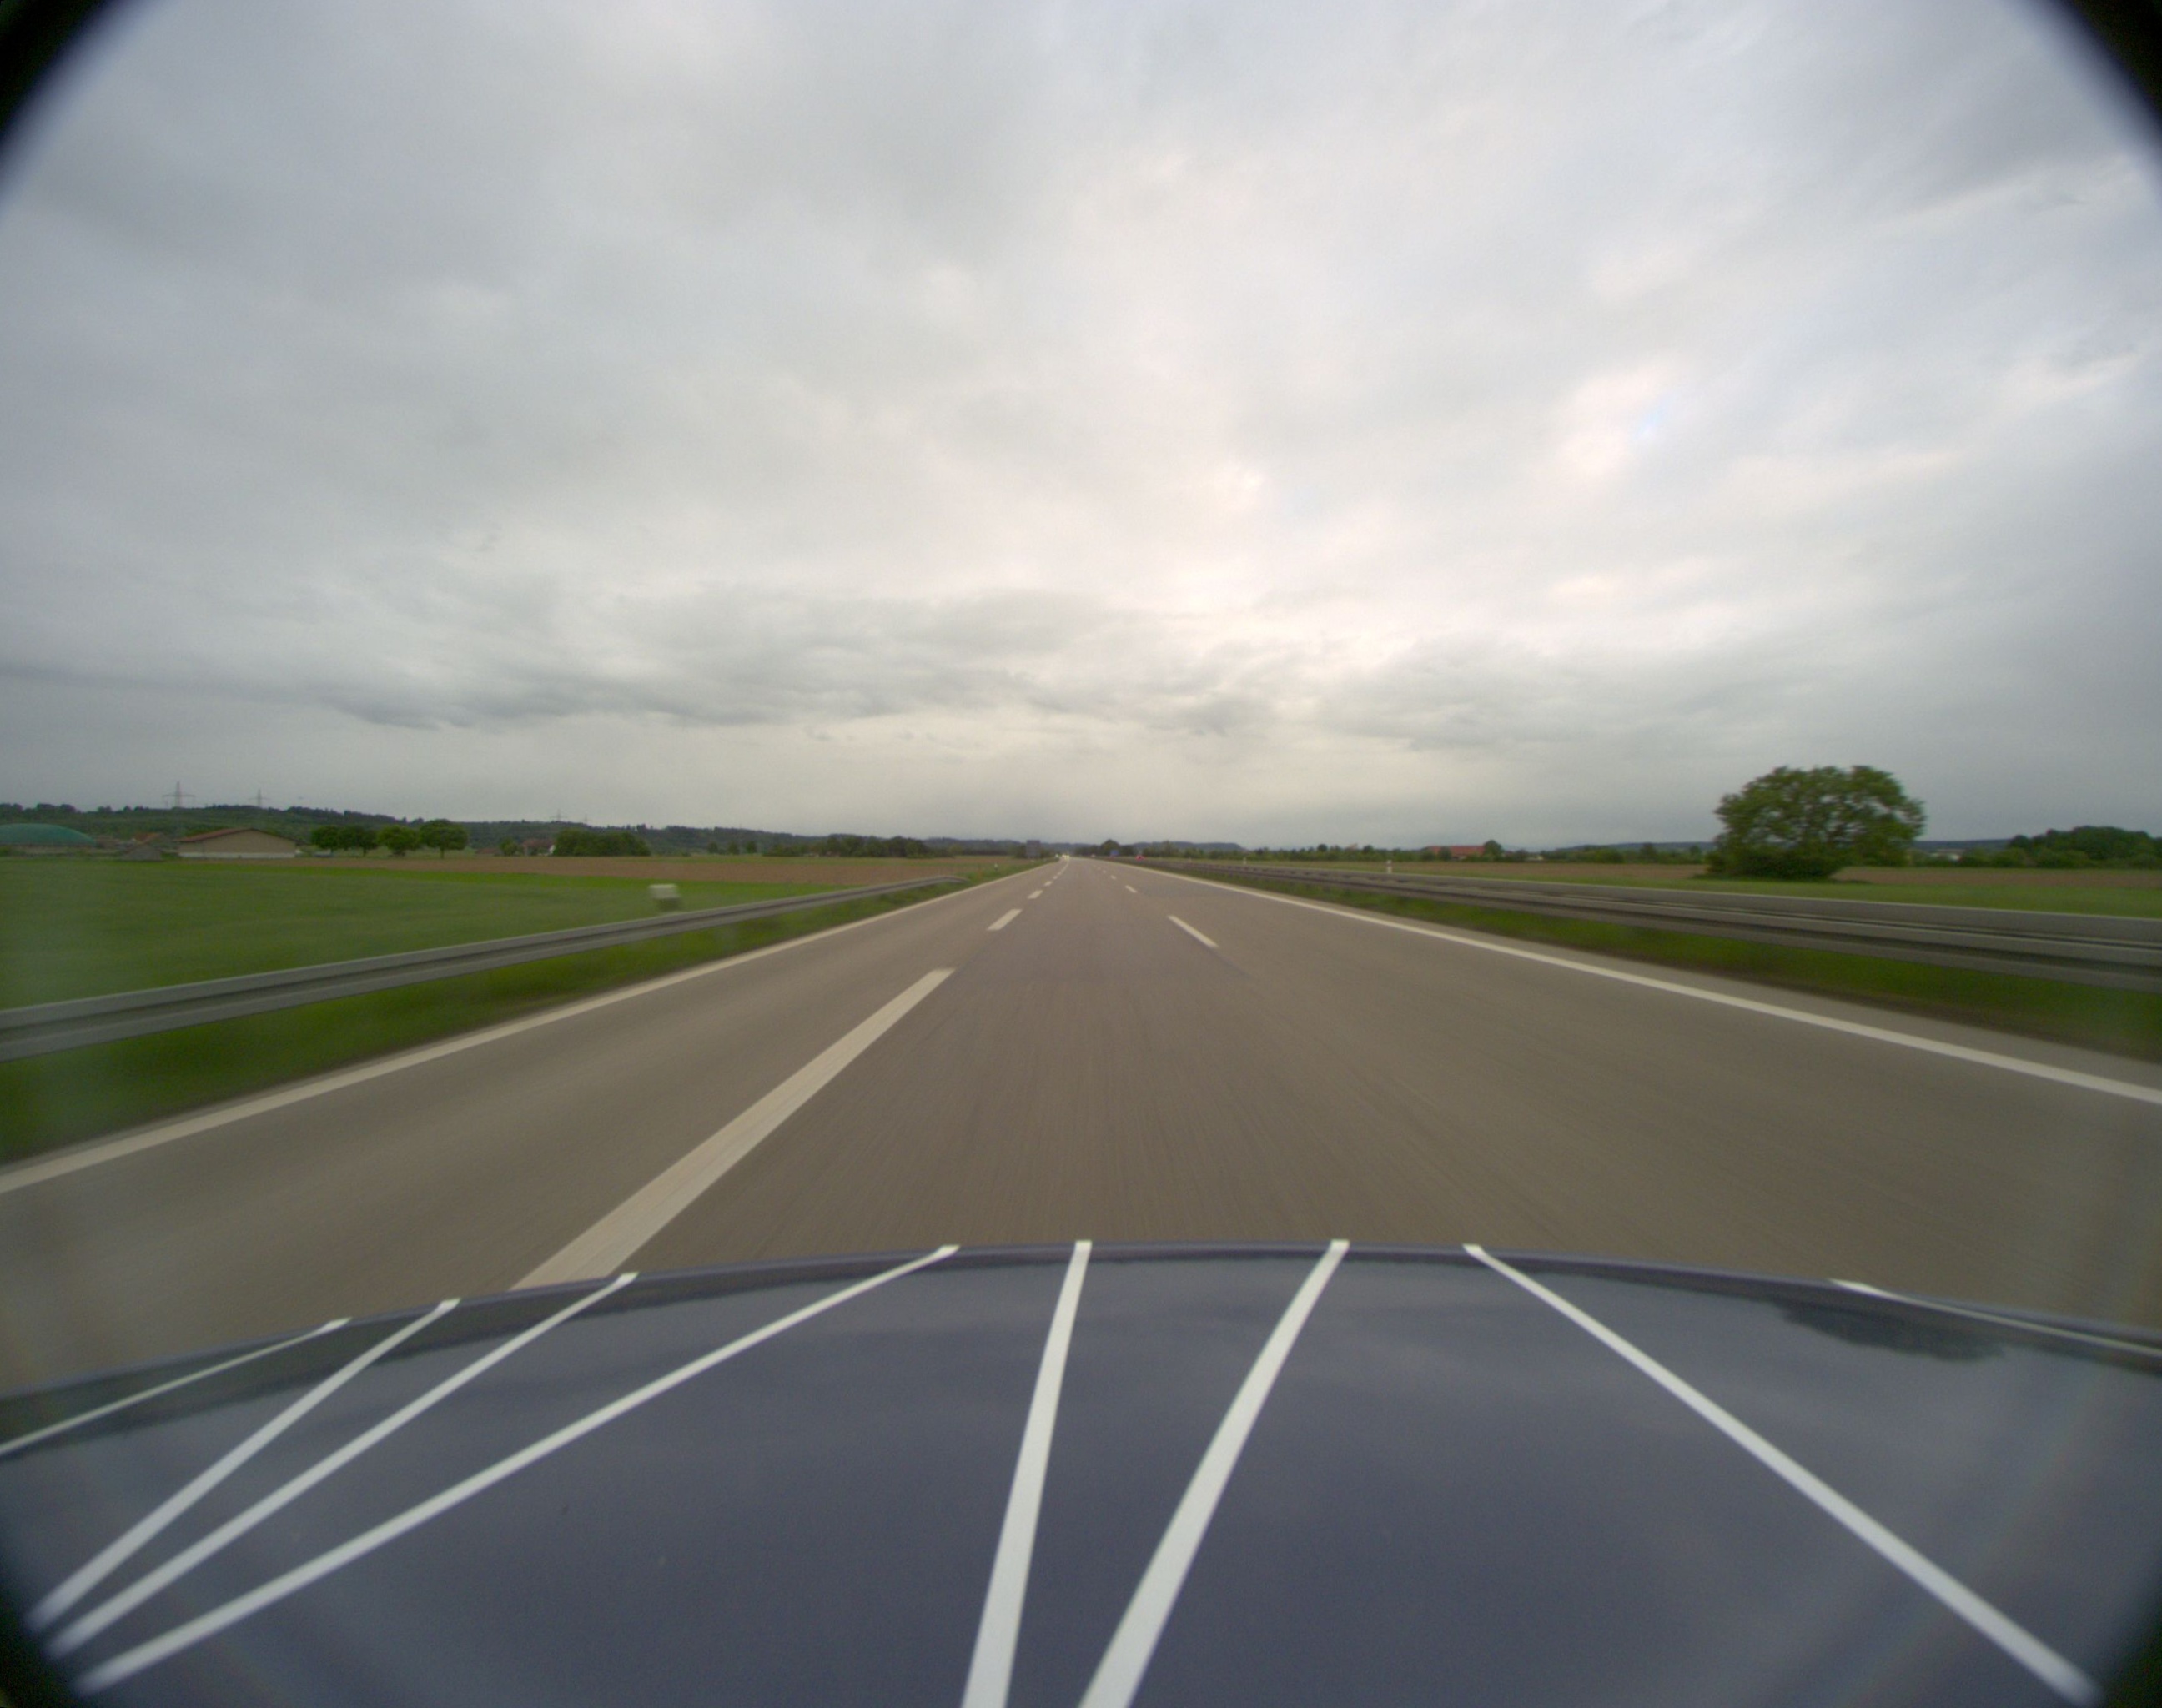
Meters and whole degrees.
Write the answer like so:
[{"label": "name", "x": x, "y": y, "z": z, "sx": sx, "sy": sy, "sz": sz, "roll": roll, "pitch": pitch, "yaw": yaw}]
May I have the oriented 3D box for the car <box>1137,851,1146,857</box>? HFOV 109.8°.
[{"label": "car", "x": 16.651, "y": -0.062, "z": 209.737, "sx": 1.998, "sy": 1.408, "sz": 4.523, "roll": -2, "pitch": 0, "yaw": 0}]
